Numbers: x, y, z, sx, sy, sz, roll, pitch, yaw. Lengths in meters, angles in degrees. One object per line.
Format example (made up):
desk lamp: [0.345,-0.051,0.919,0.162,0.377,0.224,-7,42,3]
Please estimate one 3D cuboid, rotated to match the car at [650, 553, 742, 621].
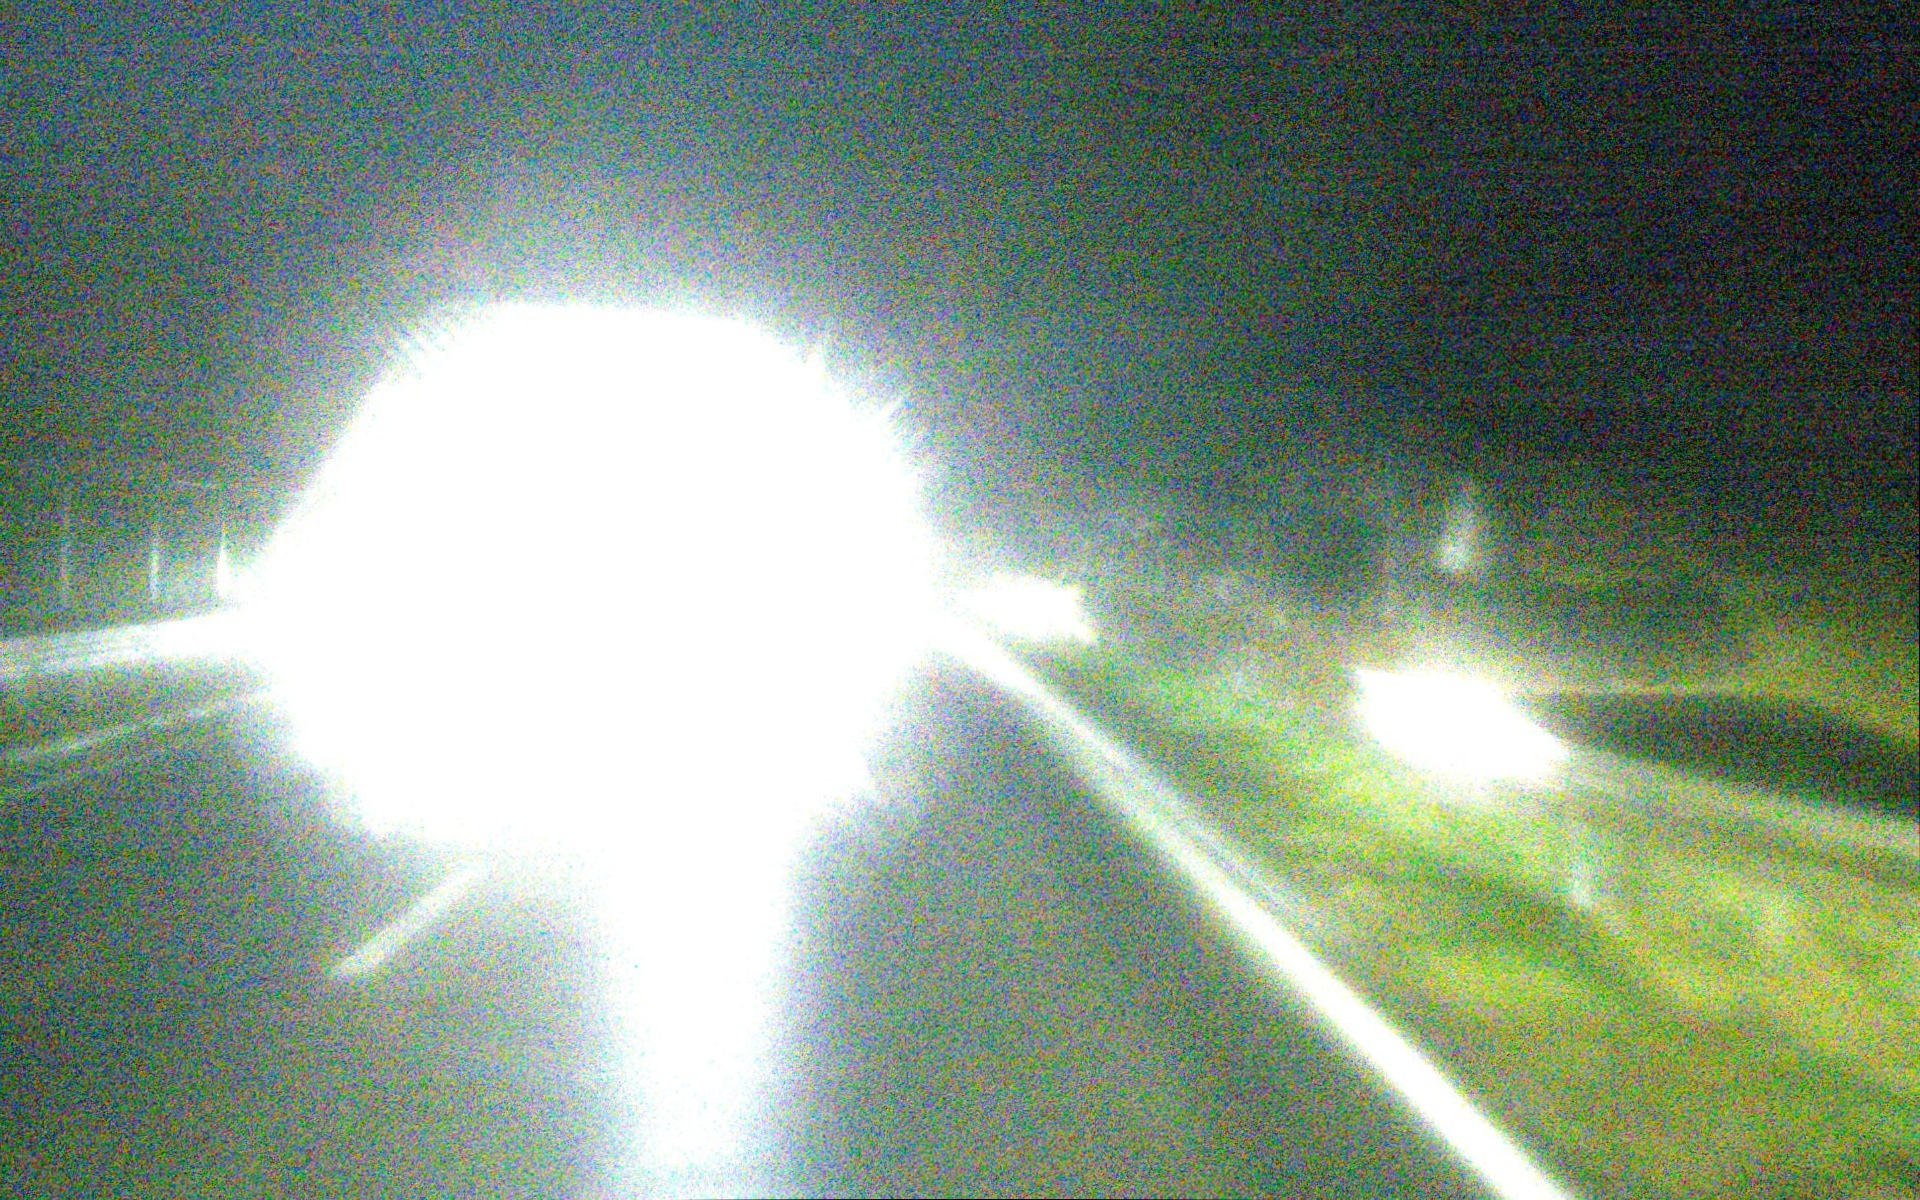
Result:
car: [-6.243,-0.325,81.744,1.993,1.495,4.001,0,2,-2]
